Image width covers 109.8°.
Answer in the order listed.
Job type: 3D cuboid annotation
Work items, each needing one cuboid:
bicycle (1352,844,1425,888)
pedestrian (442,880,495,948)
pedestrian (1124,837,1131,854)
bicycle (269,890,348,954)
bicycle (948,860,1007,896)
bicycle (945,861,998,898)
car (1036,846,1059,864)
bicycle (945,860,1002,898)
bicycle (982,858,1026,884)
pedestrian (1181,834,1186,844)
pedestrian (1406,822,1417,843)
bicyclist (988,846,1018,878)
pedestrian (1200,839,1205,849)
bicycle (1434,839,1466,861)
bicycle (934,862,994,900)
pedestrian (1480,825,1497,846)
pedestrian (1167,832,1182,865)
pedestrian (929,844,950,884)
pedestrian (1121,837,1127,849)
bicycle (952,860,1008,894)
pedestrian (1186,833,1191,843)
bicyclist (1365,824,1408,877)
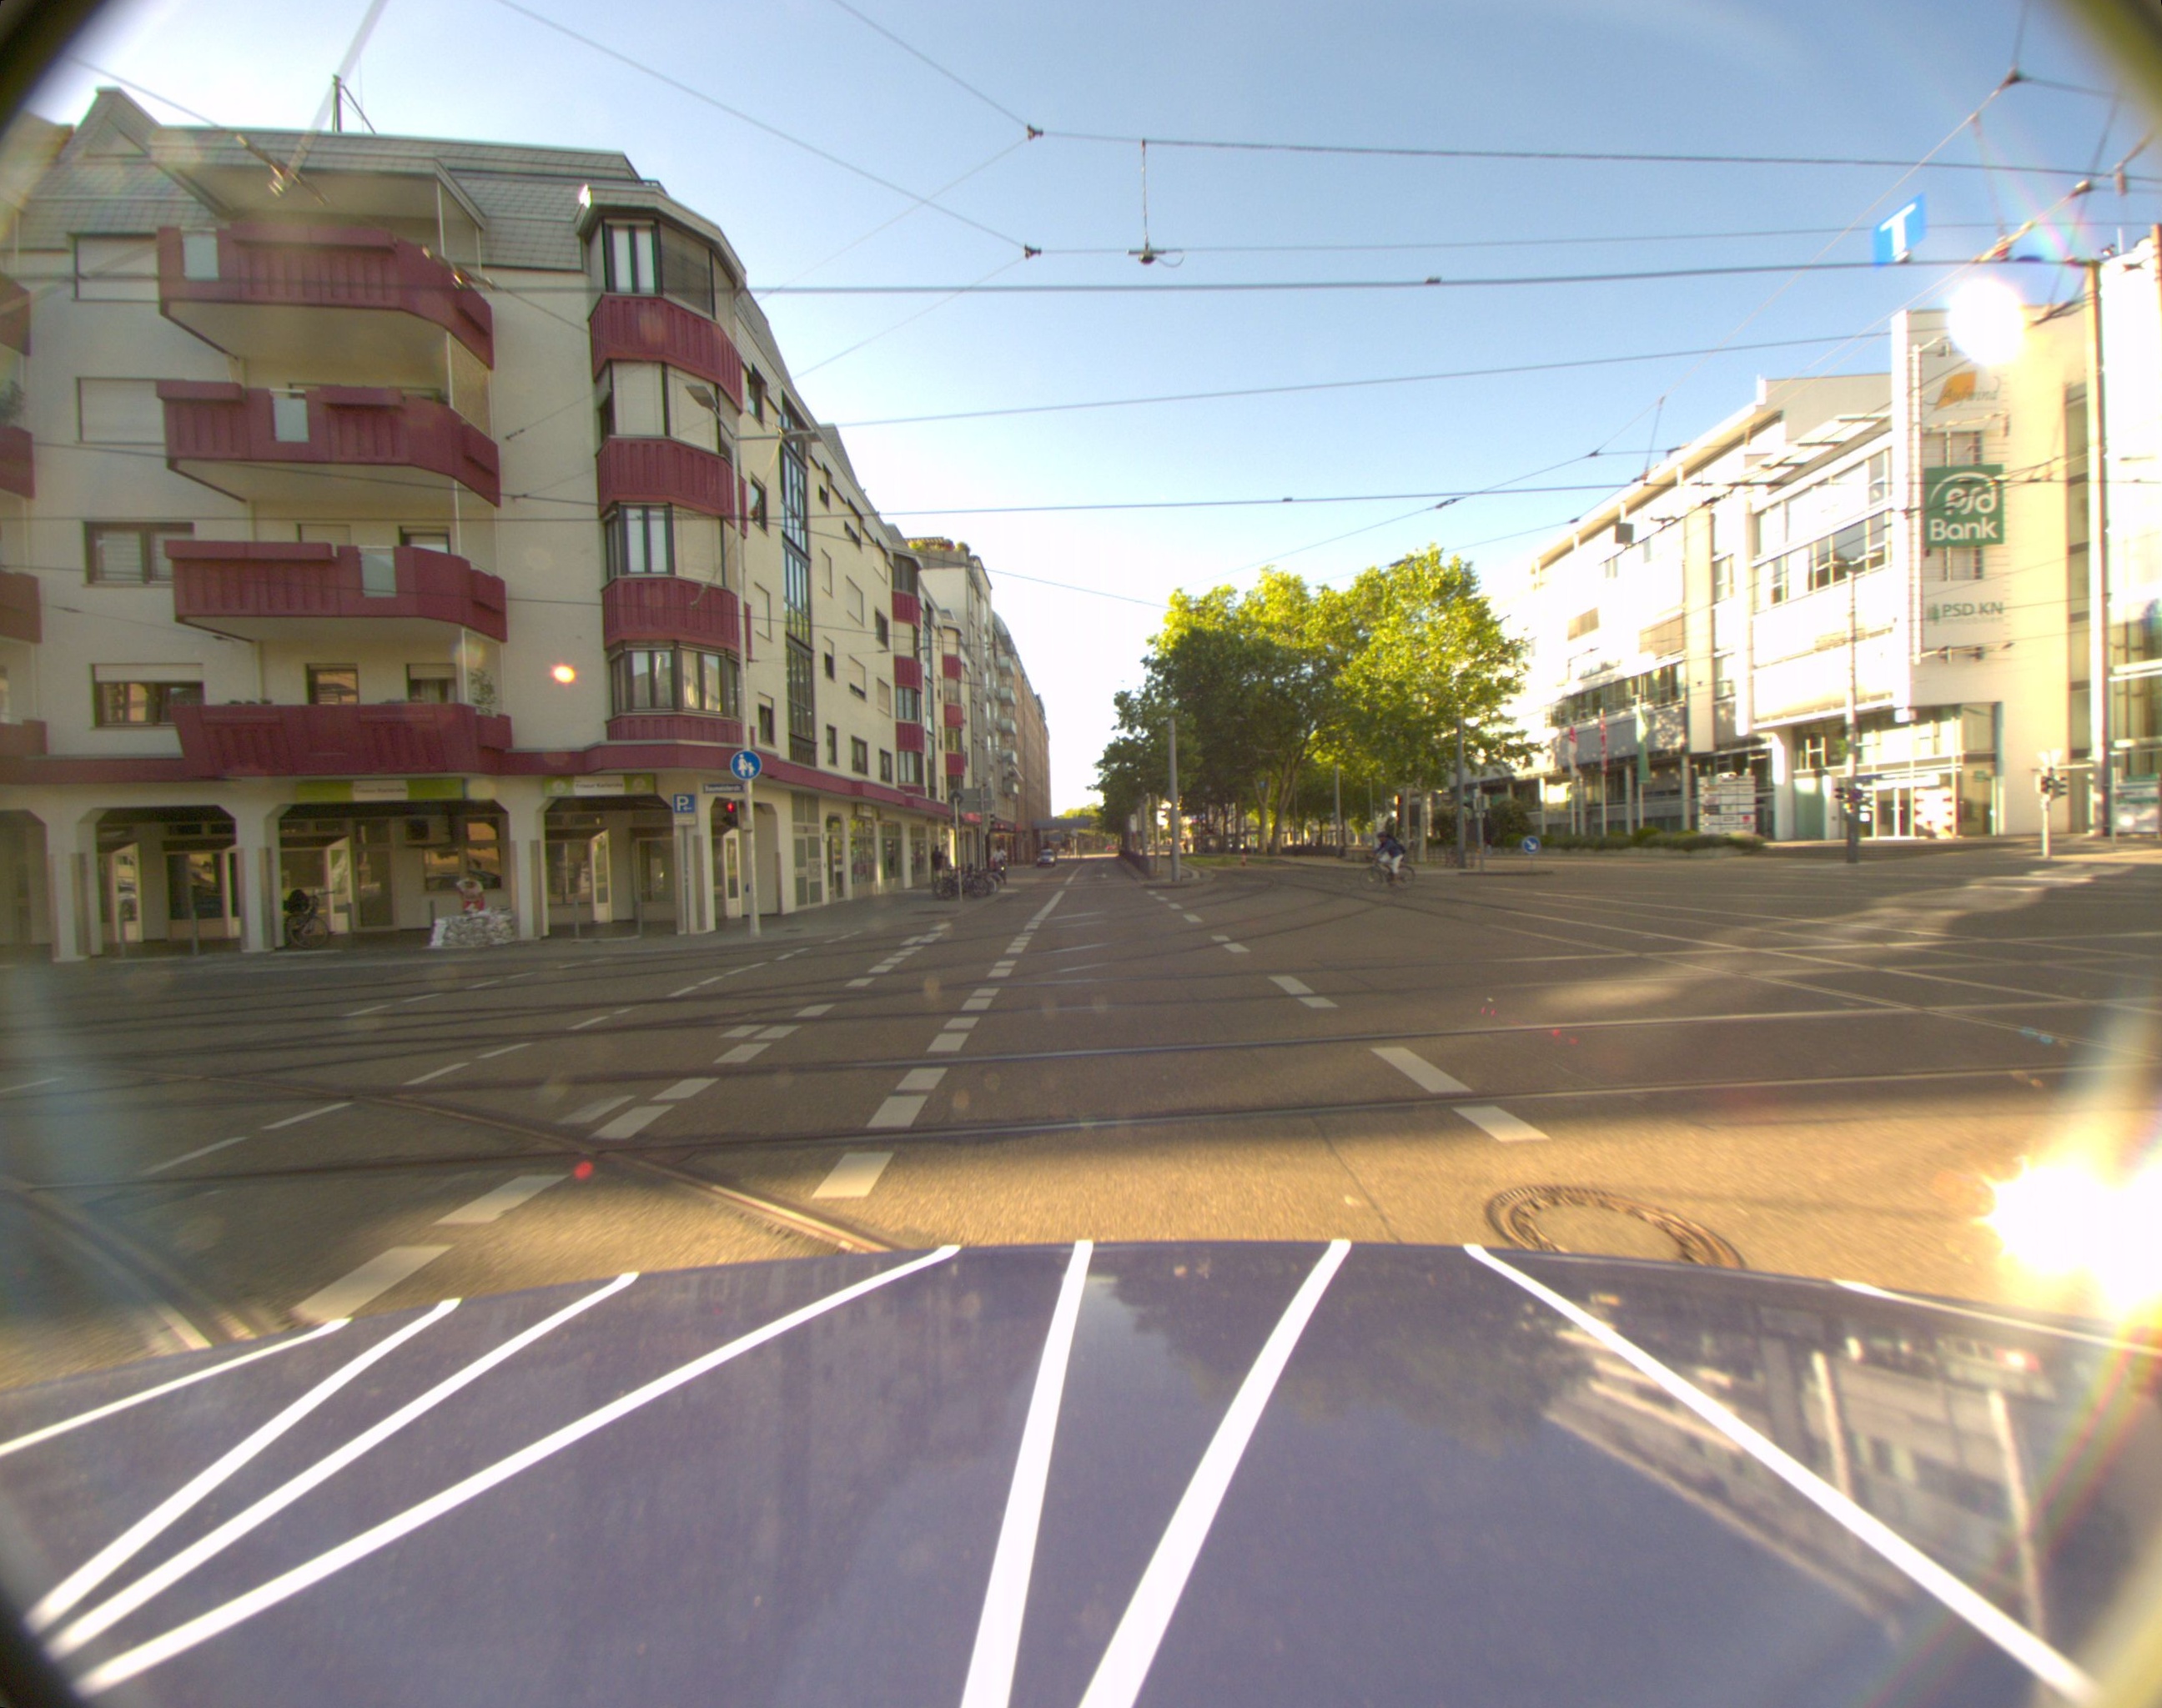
[{"bbox_3d":[9.042,0.333,22.339,2.044,1.182,0.590,-3,2,-15],"label":"bicycle"},{"bbox_3d":[-12.794,1.232,15.890,0.664,1.343,0.655,-3,1,-25],"label":"pedestrian"},{"bbox_3d":[5.123,-0.964,83.840,0.647,1.876,0.661,-2,2,2],"label":"pedestrian"},{"bbox_3d":[-15.883,1.369,15.615,1.793,1.193,0.617,-1,2,29],"label":"bicycle"},{"bbox_3d":[-3.679,0.836,27.084,1.982,1.193,0.590,-2,2,-3],"label":"bicycle"},{"bbox_3d":[-3.687,0.848,25.628,1.626,1.193,0.496,-2,2,6],"label":"bicycle"},{"bbox_3d":[-3.165,0.055,72.689,1.837,1.613,4.284,1,1,2],"label":"car"},{"bbox_3d":[-3.716,0.864,26.200,1.835,1.214,0.496,-2,2,5],"label":"bicycle"},{"bbox_3d":[-3.847,0.810,37.518,0.965,1.176,2.591,-3,2,-35],"label":"bicycle"},{"bbox_3d":[17.630,-2.649,130.720,0.686,1.686,0.698,-2,1,-6],"label":"pedestrian"},{"bbox_3d":[32.278,-2.065,74.225,0.607,1.965,0.834,-4,1,0],"label":"pedestrian"},{"bbox_3d":[-3.847,0.385,37.490,1.062,1.531,1.076,-3,2,-35],"label":"bicyclist"},{"bbox_3d":[18.534,-1.451,115.488,0.554,1.489,0.550,-3,1,-9],"label":"pedestrian"},{"bbox_3d":[17.351,-0.195,35.750,0.814,0.941,1.726,-2,1,8],"label":"bicycle"},{"bbox_3d":[-3.824,0.878,24.895,1.805,1.193,0.546,-2,2,6],"label":"bicycle"},{"bbox_3d":[32.020,-1.463,59.703,0.908,1.583,0.767,-2,2,1],"label":"pedestrian"},{"bbox_3d":[5.108,-0.321,41.345,0.735,1.737,0.712,-2,1,7],"label":"pedestrian"},{"bbox_3d":[-6.670,0.445,35.819,0.724,1.847,0.801,-2,2,1],"label":"pedestrian"},{"bbox_3d":[6.235,-1.654,109.554,0.742,1.680,0.645,-4,2,1],"label":"pedestrian"},{"bbox_3d":[-3.674,0.836,27.710,1.945,1.163,0.572,-2,2,-1],"label":"bicycle"},{"bbox_3d":[18.431,-2.714,130.682,0.656,1.744,0.676,-2,1,-6],"label":"pedestrian"},{"bbox_3d":[8.974,-0.097,22.313,0.882,1.486,0.722,-3,2,-15],"label":"bicyclist"}]
